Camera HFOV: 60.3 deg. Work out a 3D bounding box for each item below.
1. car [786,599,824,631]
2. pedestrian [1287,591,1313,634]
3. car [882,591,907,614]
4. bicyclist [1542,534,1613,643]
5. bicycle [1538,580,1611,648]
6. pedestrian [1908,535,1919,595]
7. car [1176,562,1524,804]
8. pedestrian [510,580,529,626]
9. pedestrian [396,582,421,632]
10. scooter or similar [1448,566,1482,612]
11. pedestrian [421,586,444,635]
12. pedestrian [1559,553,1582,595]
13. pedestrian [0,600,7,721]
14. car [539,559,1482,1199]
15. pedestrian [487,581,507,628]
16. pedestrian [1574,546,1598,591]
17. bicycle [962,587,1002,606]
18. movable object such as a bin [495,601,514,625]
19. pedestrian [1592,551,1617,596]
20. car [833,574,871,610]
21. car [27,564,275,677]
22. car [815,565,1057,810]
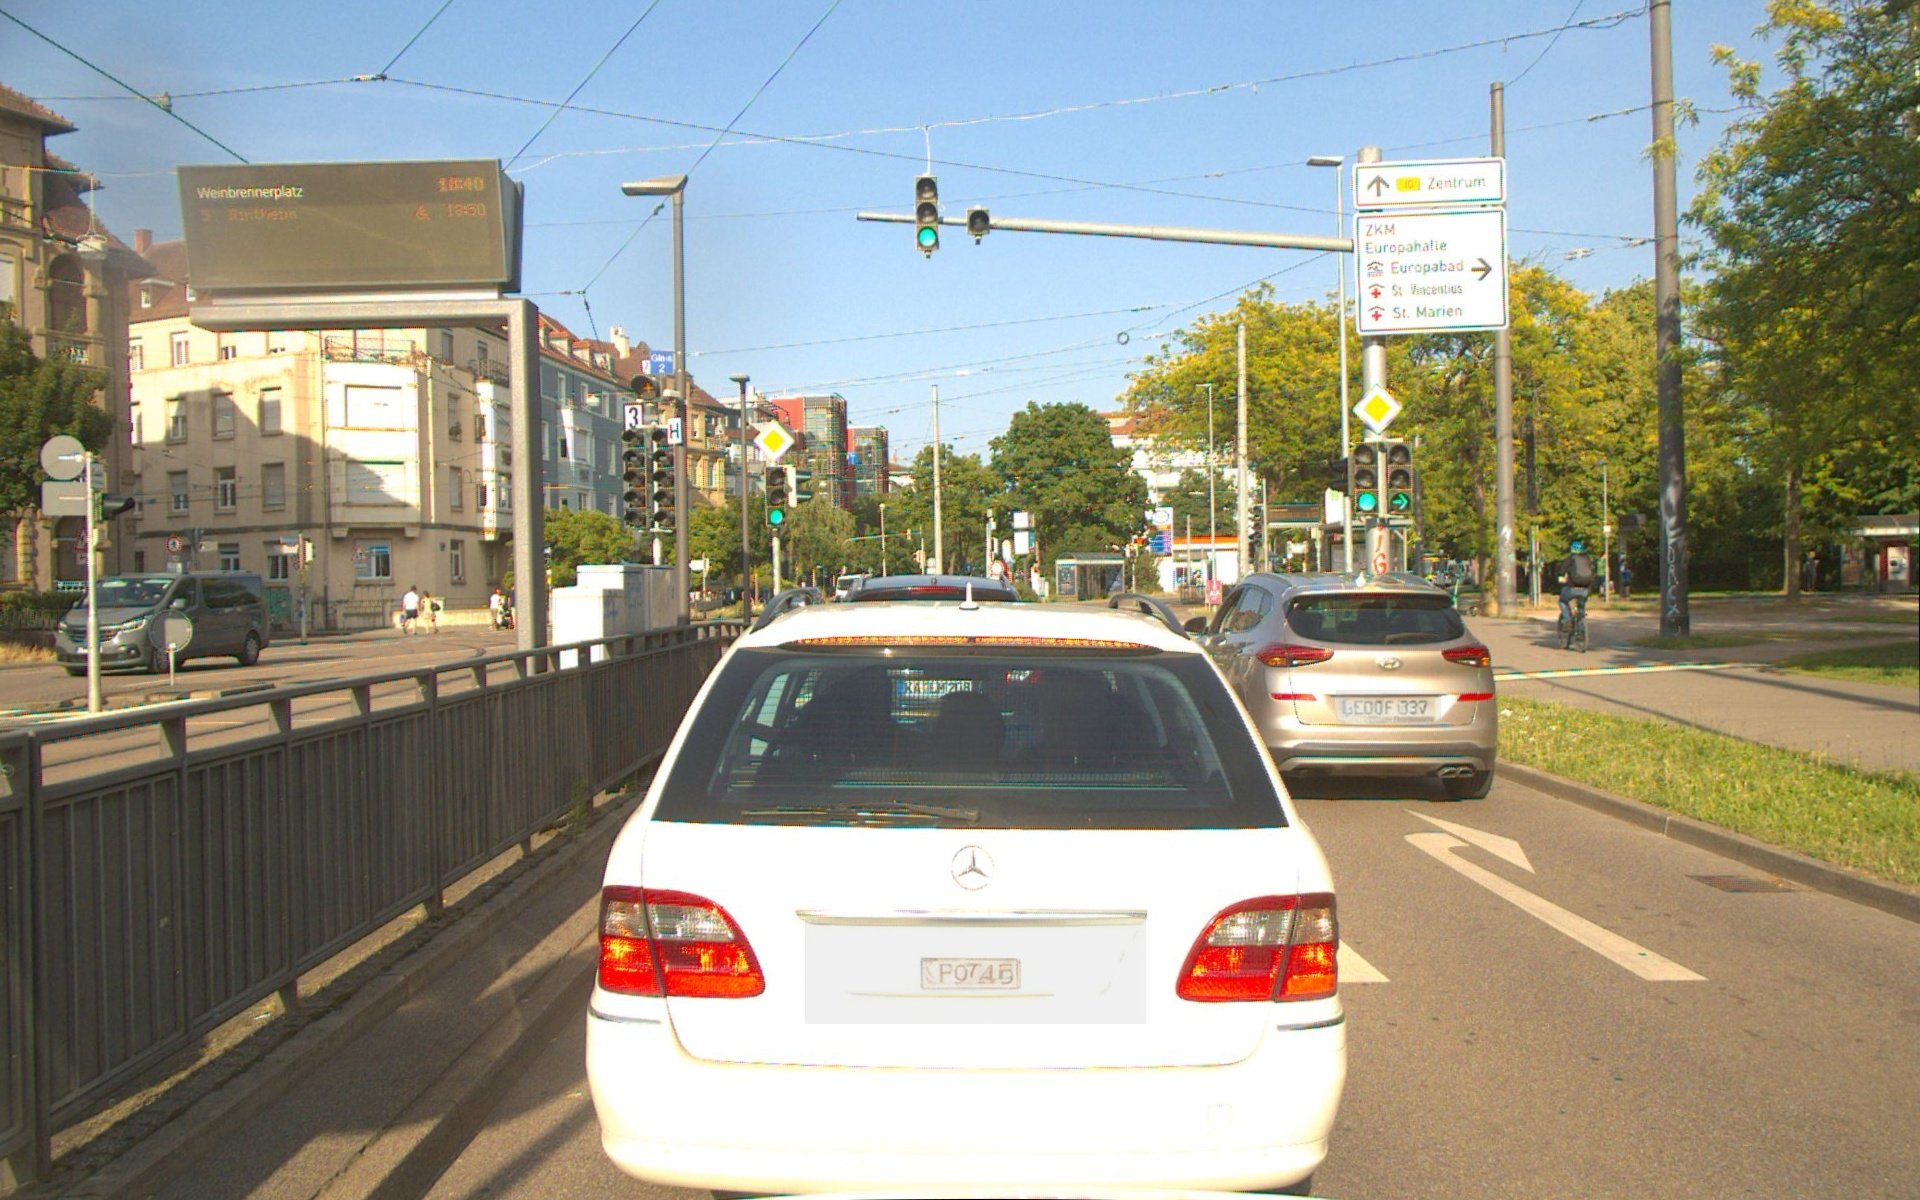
[{"bbox_3d":[-8.525,0.805,91.007,1.642,1.552,4.125,-1,2,0],"label":"car"},{"bbox_3d":[16.328,0.588,79.439,0.978,2.049,0.825,-1,0,35],"label":"pedestrian"},{"bbox_3d":[-4.990,0.181,126.009,1.731,1.520,4.744,-2,2,-1],"label":"car"},{"bbox_3d":[10.480,-0.196,28.118,0.705,1.776,1.140,-4,0,3],"label":"bicyclist"},{"bbox_3d":[10.551,0.227,28.442,0.627,1.107,1.734,-4,0,3],"label":"bicycle"},{"bbox_3d":[30.553,-1.101,52.572,0.455,1.900,0.600,1,-1,-30],"label":"pedestrian"},{"bbox_3d":[2.884,0.547,13.068,1.798,1.628,3.814,0,0,-1],"label":"car"},{"bbox_3d":[-18.279,0.120,68.657,0.573,1.913,0.626,-1,1,-3],"label":"pedestrian"},{"bbox_3d":[-21.406,0.285,64.238,0.644,1.913,0.627,-1,0,14],"label":"pedestrian"},{"bbox_3d":[13.939,-0.302,45.652,0.345,1.253,1.131,-1,0,-15],"label":"scooter or similar"},{"bbox_3d":[-20.512,0.401,64.355,0.661,1.880,0.649,-1,0,-3],"label":"pedestrian"},{"bbox_3d":[23.970,-1.023,64.937,0.628,1.638,0.690,-1,0,-1],"label":"pedestrian"},{"bbox_3d":[-13.124,0.825,21.905,0.578,1.617,0.715,-1,0,-5],"label":"pedestrian"},{"bbox_3d":[0.074,0.674,5.067,1.798,1.527,3.814,0,0,-1],"label":"car"},{"bbox_3d":[-19.026,0.180,67.966,0.572,1.913,0.627,-1,0,0],"label":"pedestrian"},{"bbox_3d":[24.253,-1.217,64.094,0.628,1.694,0.690,-1,0,-1],"label":"pedestrian"},{"bbox_3d":[1.196,-0.186,89.699,1.975,0.963,0.880,-1,0,19],"label":"bicycle"},{"bbox_3d":[-19.036,0.539,69.095,0.571,0.963,0.663,-1,0,2],"label":"movable object such as a bin"},{"bbox_3d":[24.525,-1.018,62.924,0.628,1.694,0.690,-1,0,-1],"label":"pedestrian"},{"bbox_3d":[-7.049,-0.556,108.525,2.132,2.278,5.253,-1,1,0],"label":"car"},{"bbox_3d":[-16.155,0.361,33.426,2.100,2.049,5.389,-1,0,3],"label":"car"},{"bbox_3d":[-0.188,0.572,12.944,1.608,1.628,3.814,0,0,-1],"label":"car"}]
